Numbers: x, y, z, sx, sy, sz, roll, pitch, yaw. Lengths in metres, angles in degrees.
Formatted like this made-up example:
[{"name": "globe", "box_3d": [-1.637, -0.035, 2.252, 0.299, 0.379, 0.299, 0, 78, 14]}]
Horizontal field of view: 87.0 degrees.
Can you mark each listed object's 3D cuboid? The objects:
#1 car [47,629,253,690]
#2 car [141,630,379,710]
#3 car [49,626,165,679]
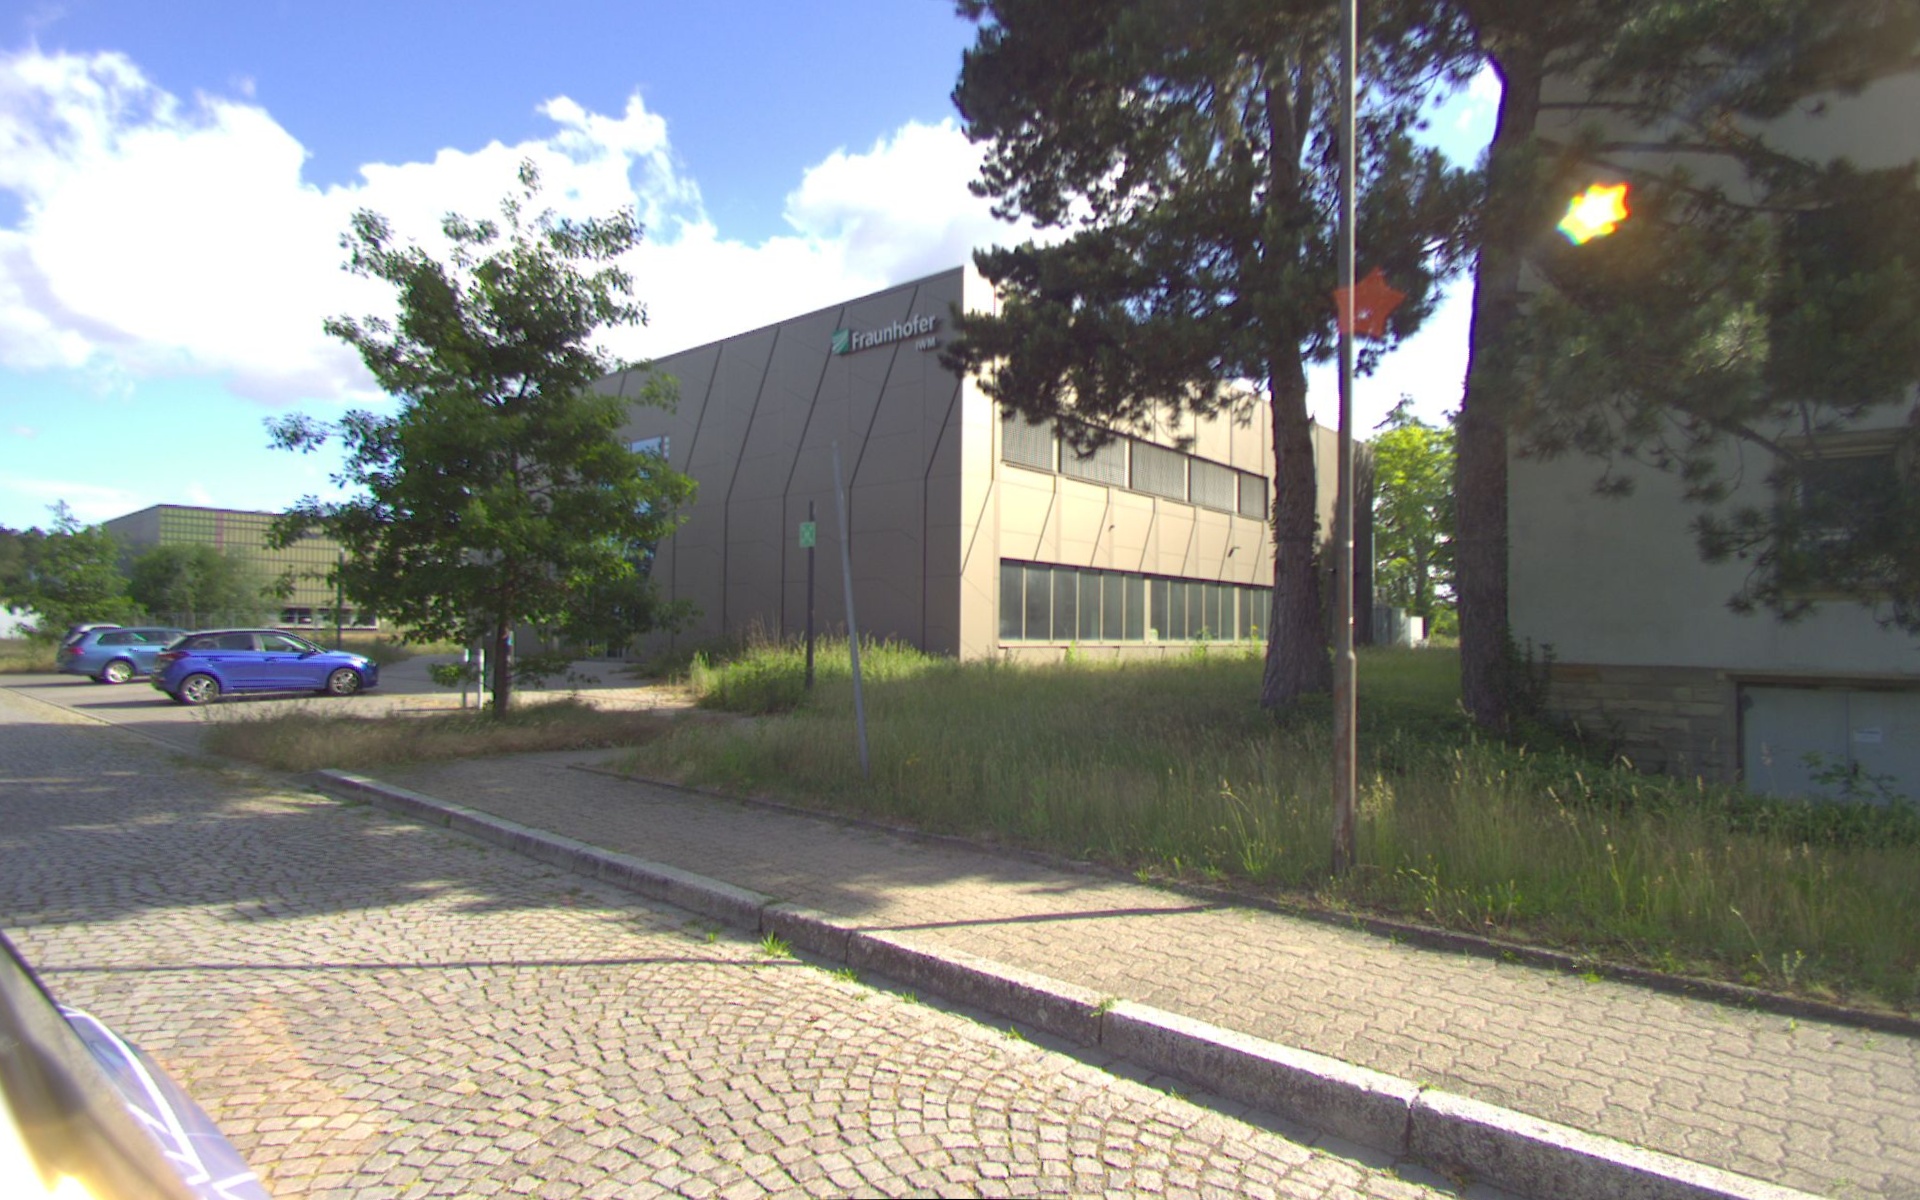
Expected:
[{"name": "car", "box_3d": [-21.980, 1.564, 27.597, 1.732, 1.485, 4.128, -1, -1, 38]}, {"name": "car", "box_3d": [-14.732, 1.411, 21.445, 1.735, 1.479, 3.866, -1, -2, 43]}, {"name": "car", "box_3d": [-27.391, 1.653, 32.544, 1.480, 1.580, 2.619, -1, -2, 39]}]
